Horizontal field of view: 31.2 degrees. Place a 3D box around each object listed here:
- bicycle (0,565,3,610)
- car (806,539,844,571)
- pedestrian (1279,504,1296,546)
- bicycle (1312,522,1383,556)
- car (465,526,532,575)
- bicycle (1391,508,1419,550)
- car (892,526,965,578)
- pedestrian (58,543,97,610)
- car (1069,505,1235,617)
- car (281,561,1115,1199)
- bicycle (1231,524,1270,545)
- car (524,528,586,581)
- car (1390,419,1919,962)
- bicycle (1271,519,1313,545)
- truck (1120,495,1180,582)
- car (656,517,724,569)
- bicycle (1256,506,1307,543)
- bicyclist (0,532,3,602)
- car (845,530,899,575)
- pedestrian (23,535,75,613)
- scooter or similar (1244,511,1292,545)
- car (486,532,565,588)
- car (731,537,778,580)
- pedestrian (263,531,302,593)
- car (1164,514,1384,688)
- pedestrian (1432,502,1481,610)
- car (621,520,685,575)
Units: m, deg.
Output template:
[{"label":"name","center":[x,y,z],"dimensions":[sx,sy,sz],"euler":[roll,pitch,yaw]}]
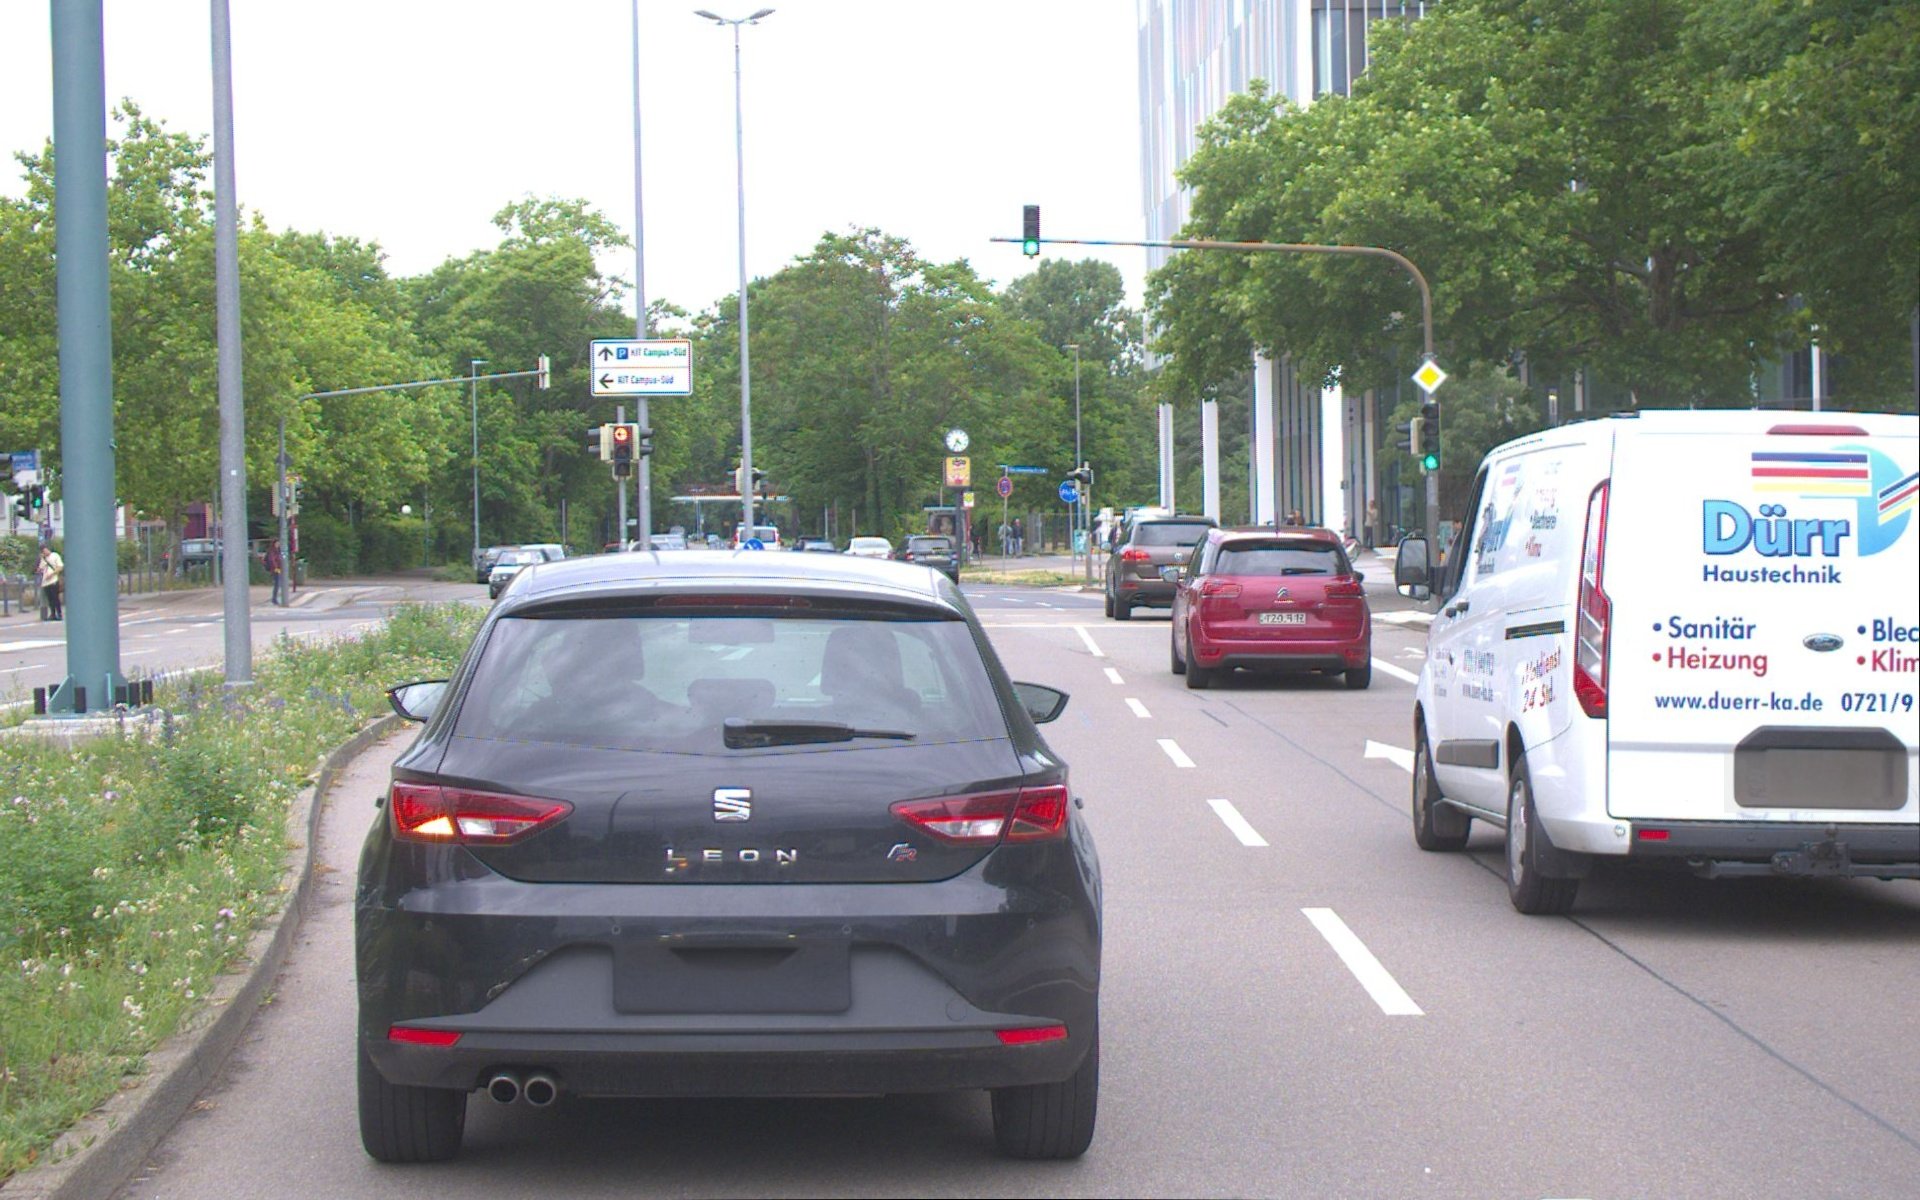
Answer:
[{"label":"bicycle","center":[-23.022,-0.296,81.278],"dimensions":[0.666,1.058,1.620],"euler":[0,1,-19]},{"label":"car","center":[-5.677,-1.898,144.613],"dimensions":[1.505,1.189,3.164],"euler":[-3,2,-3]},{"label":"pedestrian","center":[10.678,-2.452,112.076],"dimensions":[0.472,1.357,0.445],"euler":[-2,2,11]},{"label":"bicycle","center":[11.242,-1.762,99.723],"dimensions":[1.886,0.895,0.697],"euler":[-3,2,-20]},{"label":"car","center":[-17.464,-1.896,130.143],"dimensions":[1.906,1.711,4.000],"euler":[-3,2,0]},{"label":"bicycle","center":[13.955,-2.241,107.739],"dimensions":[0.527,1.248,1.664],"euler":[-2,2,19]},{"label":"car","center":[-0.929,-1.401,99.996],"dimensions":[1.898,1.349,3.883],"euler":[-3,2,-3]},{"label":"pedestrian","center":[-21.054,-0.566,82.000],"dimensions":[0.789,1.553,0.699],"euler":[-1,-2,-20]},{"label":"car","center":[3.050,-0.662,55.401],"dimensions":[1.914,1.658,4.116],"euler":[-3,2,-7]},{"label":"car","center":[-0.563,0.628,9.121],"dimensions":[1.753,1.427,3.769],"euler":[0,1,0]},{"label":"bicycle","center":[10.779,-2.441,127.589],"dimensions":[1.374,0.703,0.416],"euler":[-3,2,3]},{"label":"car","center":[-12.019,-1.362,102.125],"dimensions":[1.704,1.426,4.228],"euler":[-3,2,-6]},{"label":"car","center":[3.114,0.271,14.668],"dimensions":[1.966,1.965,4.344],"euler":[1,2,0]},{"label":"bicycle","center":[11.514,-2.355,119.336],"dimensions":[1.438,0.855,0.365],"euler":[-4,2,-26]},{"label":"truck","center":[5.064,-1.666,91.932],"dimensions":[1.317,2.235,3.402],"euler":[-3,2,0]},{"label":"car","center":[-9.342,-1.984,119.323],"dimensions":[1.921,1.658,4.399],"euler":[-3,1,0]},{"label":"bicycle","center":[11.321,-2.658,121.112],"dimensions":[1.772,1.207,0.570],"euler":[-4,2,-33]},{"label":"bicyclist","center":[-23.001,-0.781,81.252],"dimensions":[0.666,1.630,0.962],"euler":[0,0,-19]},{"label":"car","center":[-2.962,-1.606,114.629],"dimensions":[1.615,1.349,4.001],"euler":[-3,2,-3]},{"label":"pedestrian","center":[-21.153,-0.605,79.795],"dimensions":[0.840,1.734,0.830],"euler":[-1,-4,-38]},{"label":"scooter or similar","center":[10.915,-2.543,121.699],"dimensions":[1.671,1.103,0.499],"euler":[-4,2,-31]},{"label":"car","center":[-11.972,-1.123,94.820],"dimensions":[1.608,1.376,3.809],"euler":[-3,2,0]},{"label":"car","center":[-7.821,-1.596,130.897],"dimensions":[1.695,1.498,4.010],"euler":[-3,2,-3]},{"label":"pedestrian","center":[-17.668,-0.994,89.618],"dimensions":[0.874,1.580,0.544],"euler":[-3,2,-6]},{"label":"car","center":[3.122,-0.035,34.872],"dimensions":[1.949,1.618,3.749],"euler":[0,2,1]},{"label":"pedestrian","center":[8.036,-0.709,55.655],"dimensions":[0.456,1.733,0.556],"euler":[-4,2,-38]},{"label":"car","center":[-8.964,-1.520,100.500],"dimensions":[1.763,1.455,4.792],"euler":[-3,1,-5]}]
